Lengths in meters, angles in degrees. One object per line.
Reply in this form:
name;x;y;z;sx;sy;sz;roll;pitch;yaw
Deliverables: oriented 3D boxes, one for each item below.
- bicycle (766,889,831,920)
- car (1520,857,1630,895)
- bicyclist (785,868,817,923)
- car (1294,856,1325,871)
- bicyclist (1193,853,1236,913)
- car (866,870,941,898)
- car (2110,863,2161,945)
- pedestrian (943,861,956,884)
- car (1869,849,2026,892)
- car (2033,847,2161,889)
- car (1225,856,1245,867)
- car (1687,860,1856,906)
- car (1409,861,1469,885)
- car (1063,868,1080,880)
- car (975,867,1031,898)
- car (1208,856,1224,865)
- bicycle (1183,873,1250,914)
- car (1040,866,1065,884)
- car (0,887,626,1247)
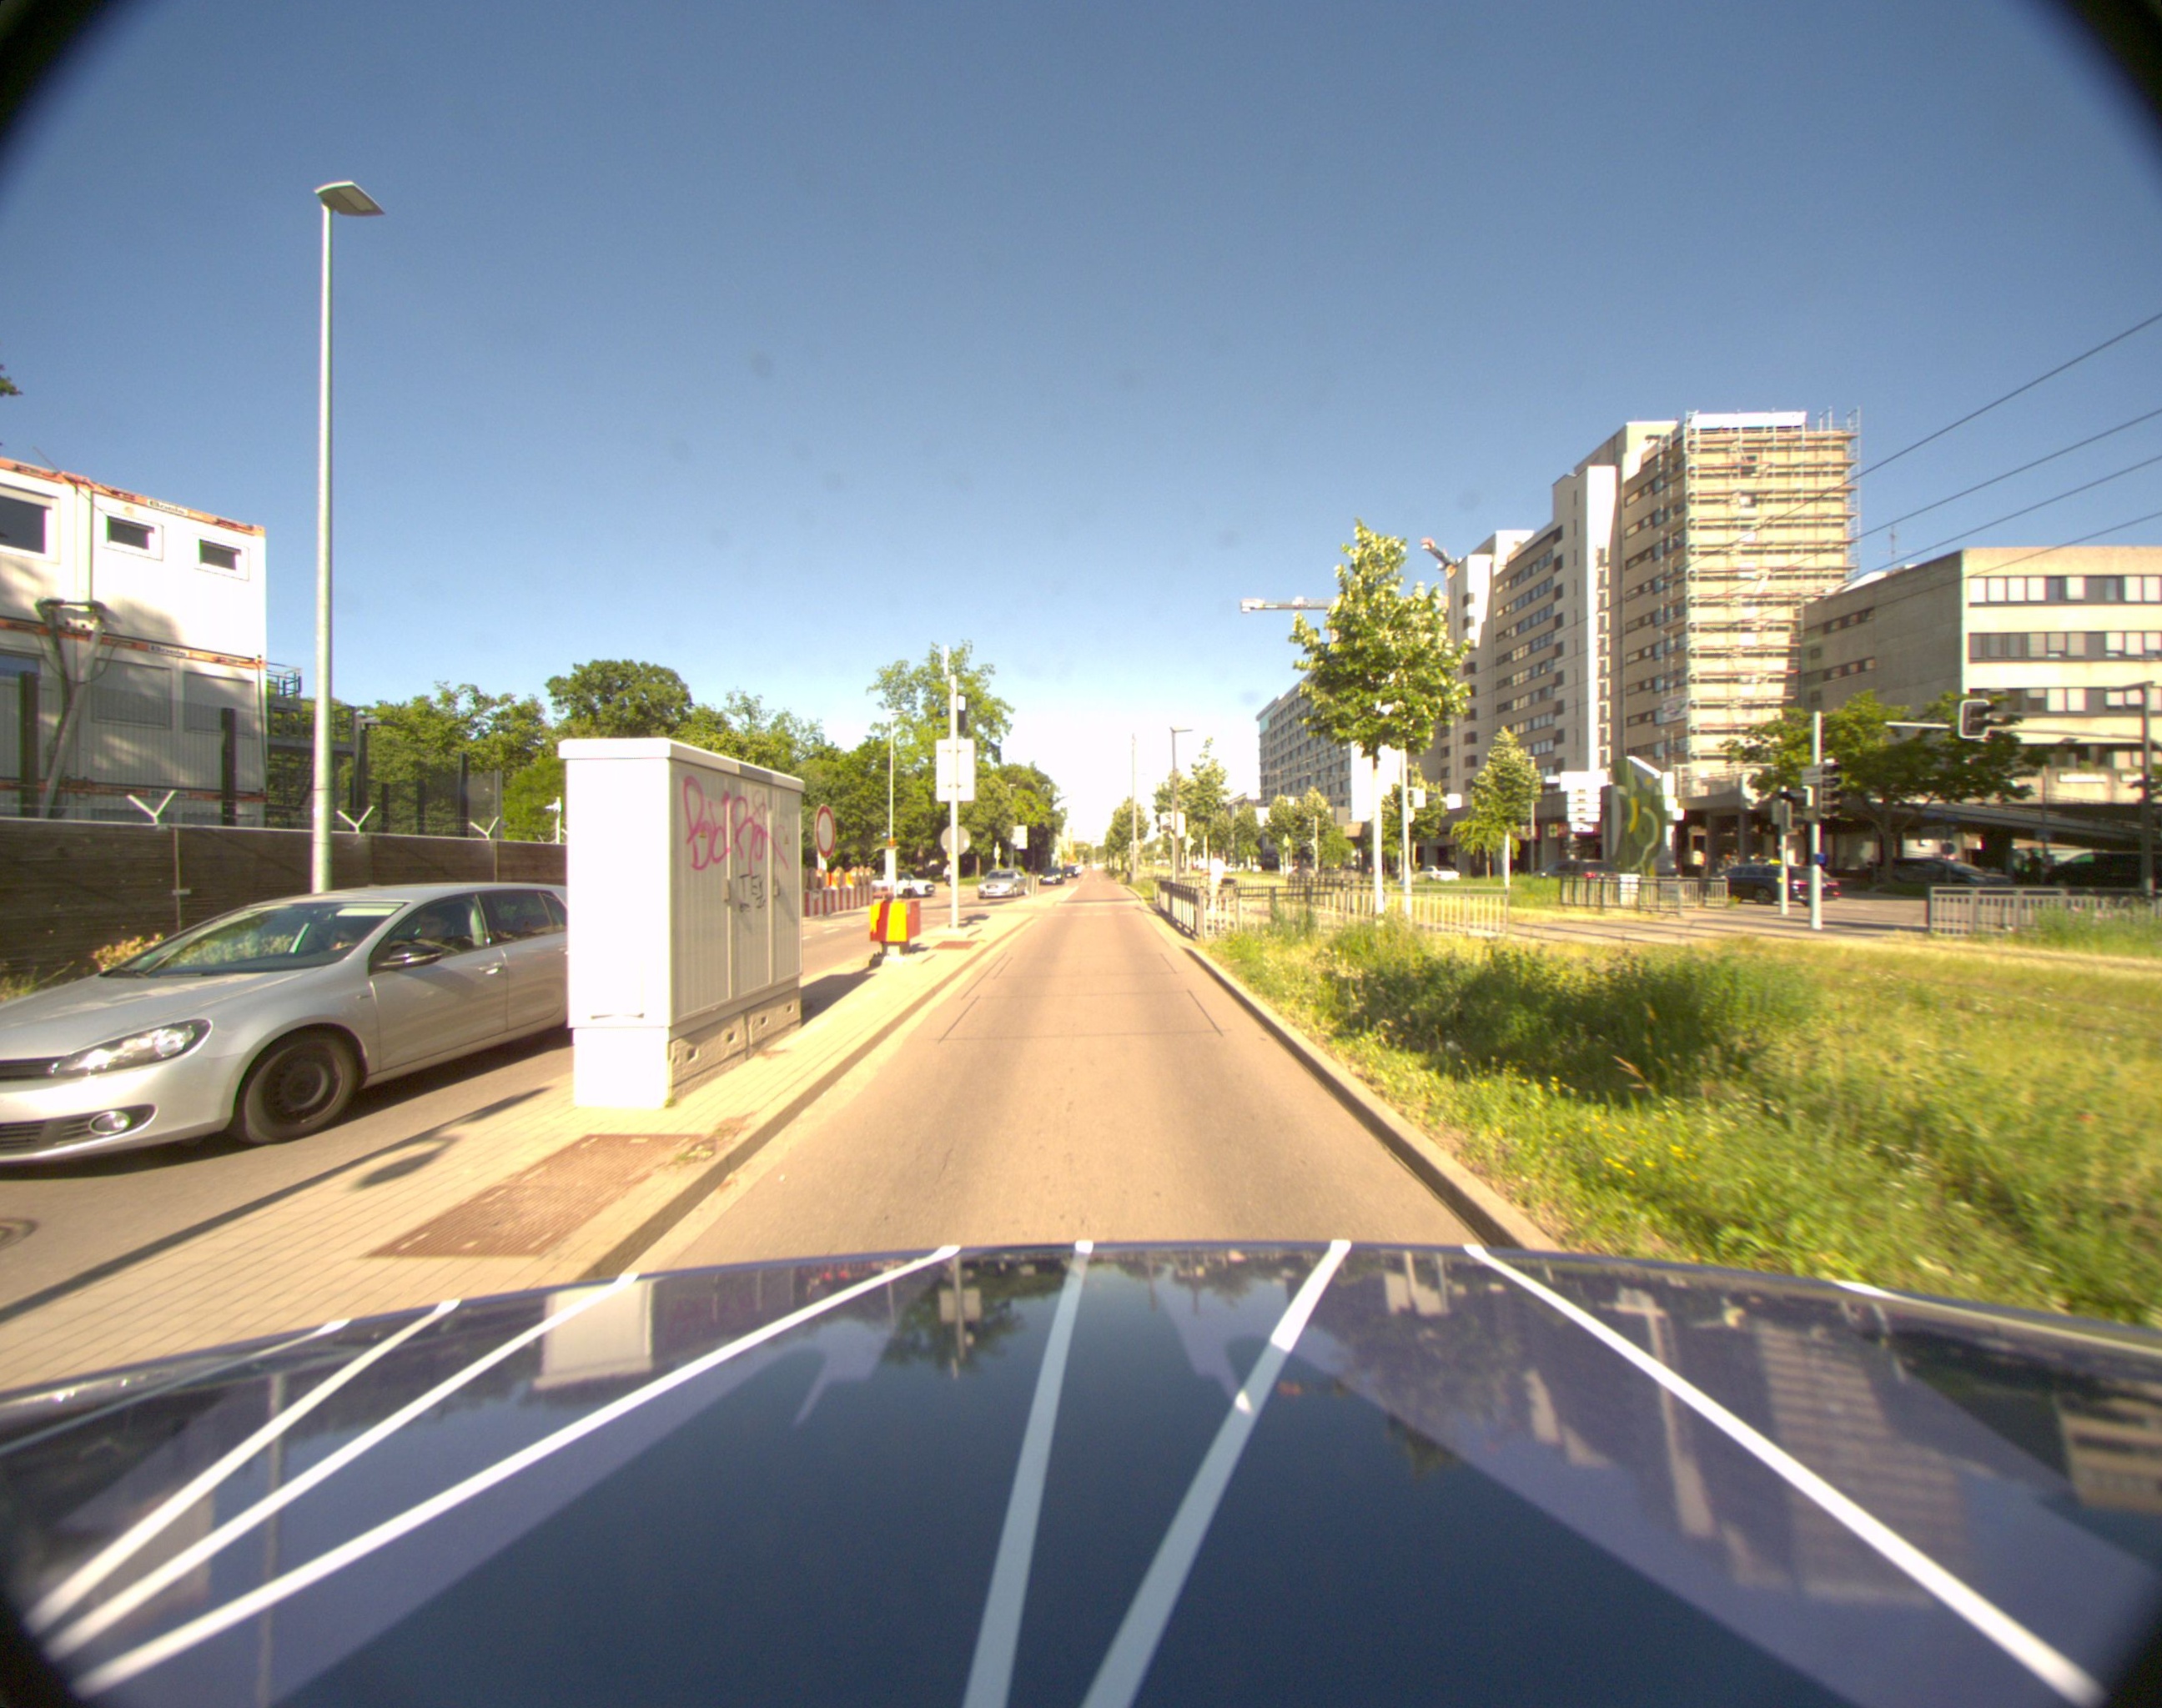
bicycle;-9.020;1.599;24.289;1.860;0.896;0.492;2;0;3
car;22.092;0.933;34.238;1.914;1.587;4.655;-1;0;0
bicyclist;-8.939;1.326;24.290;0.699;1.699;0.659;2;0;4
car;25.144;1.064;83.797;1.914;1.561;4.594;-1;0;0
bicyclist;3.832;0.804;21.856;0.861;1.677;0.818;-1;0;-34
car;-9.450;1.585;40.449;3.734;1.393;1.483;-1;0;22
car;22.137;0.967;13.652;1.745;1.593;3.998;-1;0;-5
pedestrian;-10.326;1.472;59.733;0.646;1.739;0.713;-1;1;43
car;41.468;0.734;36.572;2.014;1.908;4.653;-1;0;-7
car;49.105;0.631;35.992;2.014;1.908;4.653;-1;0;-7
car;22.910;1.053;113.306;1.914;1.561;4.594;-1;0;0
car;24.926;0.982;27.715;1.914;1.494;4.655;-1;0;0
car;24.743;1.273;52.708;1.914;1.561;4.655;-1;0;0
car;-1.098;2.352;90.737;1.829;1.328;4.000;-1;0;1
car;-3.834;1.373;38.199;1.837;1.393;4.302;-1;0;7
car;23.570;1.075;132.492;1.914;1.561;4.594;-1;0;0
bicycle;3.868;1.104;21.817;0.726;1.050;1.978;-3;2;-34
car;-2.354;1.722;62.700;1.829;1.328;4.000;-1;0;1
car;-5.293;1.070;5.421;1.671;1.427;3.972;-1;0;0
